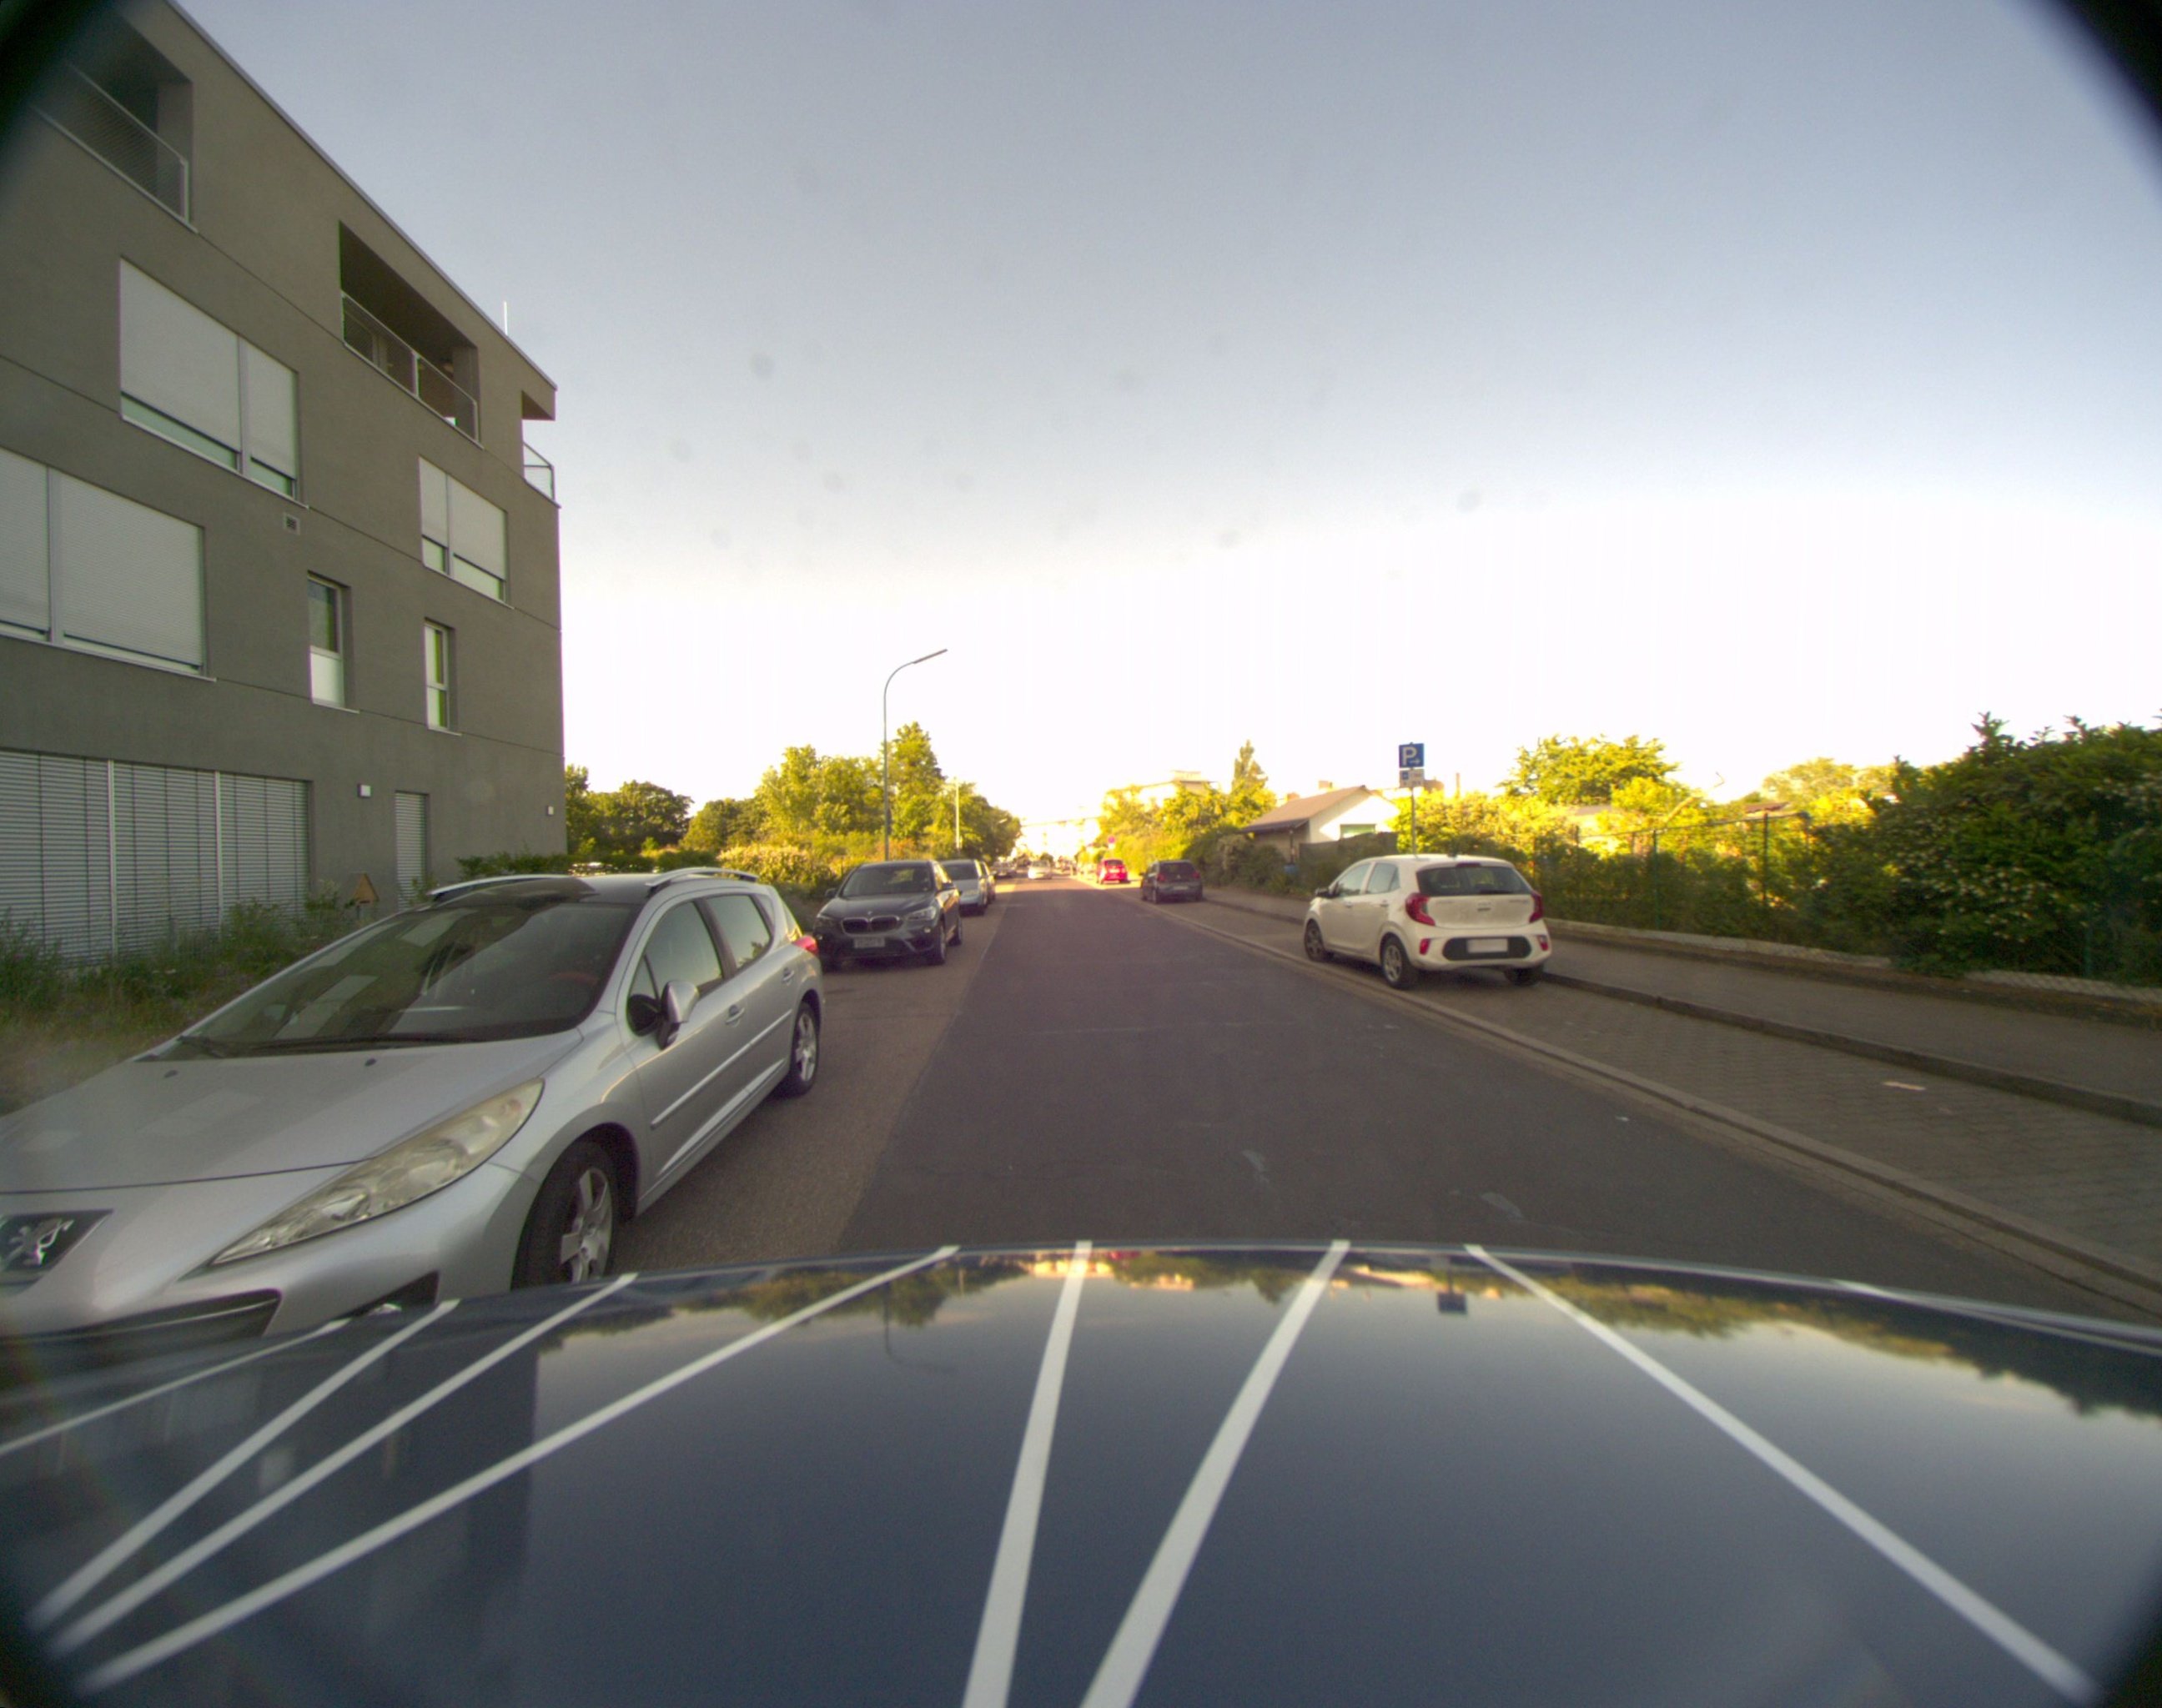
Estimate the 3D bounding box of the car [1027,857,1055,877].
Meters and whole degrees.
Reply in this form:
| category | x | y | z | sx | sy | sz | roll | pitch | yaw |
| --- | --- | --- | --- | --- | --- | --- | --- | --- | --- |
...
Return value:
| category | x | y | z | sx | sy | sz | roll | pitch | yaw |
| --- | --- | --- | --- | --- | --- | --- | --- | --- | --- |
| car | -3.048 | 0.958 | 57.456 | 1.680 | 1.440 | 3.997 | -1 | 0 | -9 |

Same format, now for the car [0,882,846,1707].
| category | x | y | z | sx | sy | sz | roll | pitch | yaw |
| --- | --- | --- | --- | --- | --- | --- | --- | --- | --- |
| car | -2.529 | 1.000 | 3.519 | 1.711 | 1.517 | 4.153 | -2 | 0 | -3 |

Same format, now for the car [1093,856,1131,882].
| category | x | y | z | sx | sy | sz | roll | pitch | yaw |
| --- | --- | --- | --- | --- | --- | --- | --- | --- | --- |
| car | 1.786 | 0.830 | 44.962 | 1.700 | 1.421 | 4.384 | -1 | 0 | -4 |

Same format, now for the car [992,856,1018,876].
| category | x | y | z | sx | sy | sz | roll | pitch | yaw |
| --- | --- | --- | --- | --- | --- | --- | --- | --- | --- |
| car | -6.300 | 0.962 | 63.239 | 1.874 | 1.517 | 4.153 | -2 | 0 | -3 |

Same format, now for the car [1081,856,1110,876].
| category | x | y | z | sx | sy | sz | roll | pitch | yaw |
| --- | --- | --- | --- | --- | --- | --- | --- | --- | --- |
| car | 0.994 | 0.845 | 54.684 | 1.700 | 1.361 | 3.909 | -1 | 0 | -4 |

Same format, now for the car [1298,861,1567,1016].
| category | x | y | z | sx | sy | sz | roll | pitch | yaw |
| --- | --- | --- | --- | --- | --- | --- | --- | --- | --- |
| car | 4.041 | 0.863 | 9.368 | 1.532 | 1.479 | 3.400 | -2 | 0 | -4 |

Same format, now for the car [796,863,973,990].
| category | x | y | z | sx | sy | sz | roll | pitch | yaw |
| --- | --- | --- | --- | --- | --- | --- | --- | --- | --- |
| car | -2.971 | 0.997 | 12.583 | 1.749 | 1.557 | 4.802 | -3 | 0 | -2 |

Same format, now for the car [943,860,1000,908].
| category | x | y | z | sx | sy | sz | roll | pitch | yaw |
| --- | --- | --- | --- | --- | --- | --- | --- | --- | --- |
| car | -3.934 | 1.048 | 27.723 | 1.711 | 1.517 | 3.092 | -4 | 0 | -3 |

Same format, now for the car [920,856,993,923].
| category | x | y | z | sx | sy | sz | roll | pitch | yaw |
| --- | --- | --- | --- | --- | --- | --- | --- | --- | --- |
| car | -3.644 | 0.977 | 22.893 | 1.712 | 1.695 | 4.347 | -4 | 0 | -5 |

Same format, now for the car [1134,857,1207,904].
| category | x | y | z | sx | sy | sz | roll | pitch | yaw |
| --- | --- | --- | --- | --- | --- | --- | --- | --- | --- |
| car | 3.071 | 0.875 | 27.038 | 1.700 | 1.415 | 4.515 | -3 | 0 | -4 |
